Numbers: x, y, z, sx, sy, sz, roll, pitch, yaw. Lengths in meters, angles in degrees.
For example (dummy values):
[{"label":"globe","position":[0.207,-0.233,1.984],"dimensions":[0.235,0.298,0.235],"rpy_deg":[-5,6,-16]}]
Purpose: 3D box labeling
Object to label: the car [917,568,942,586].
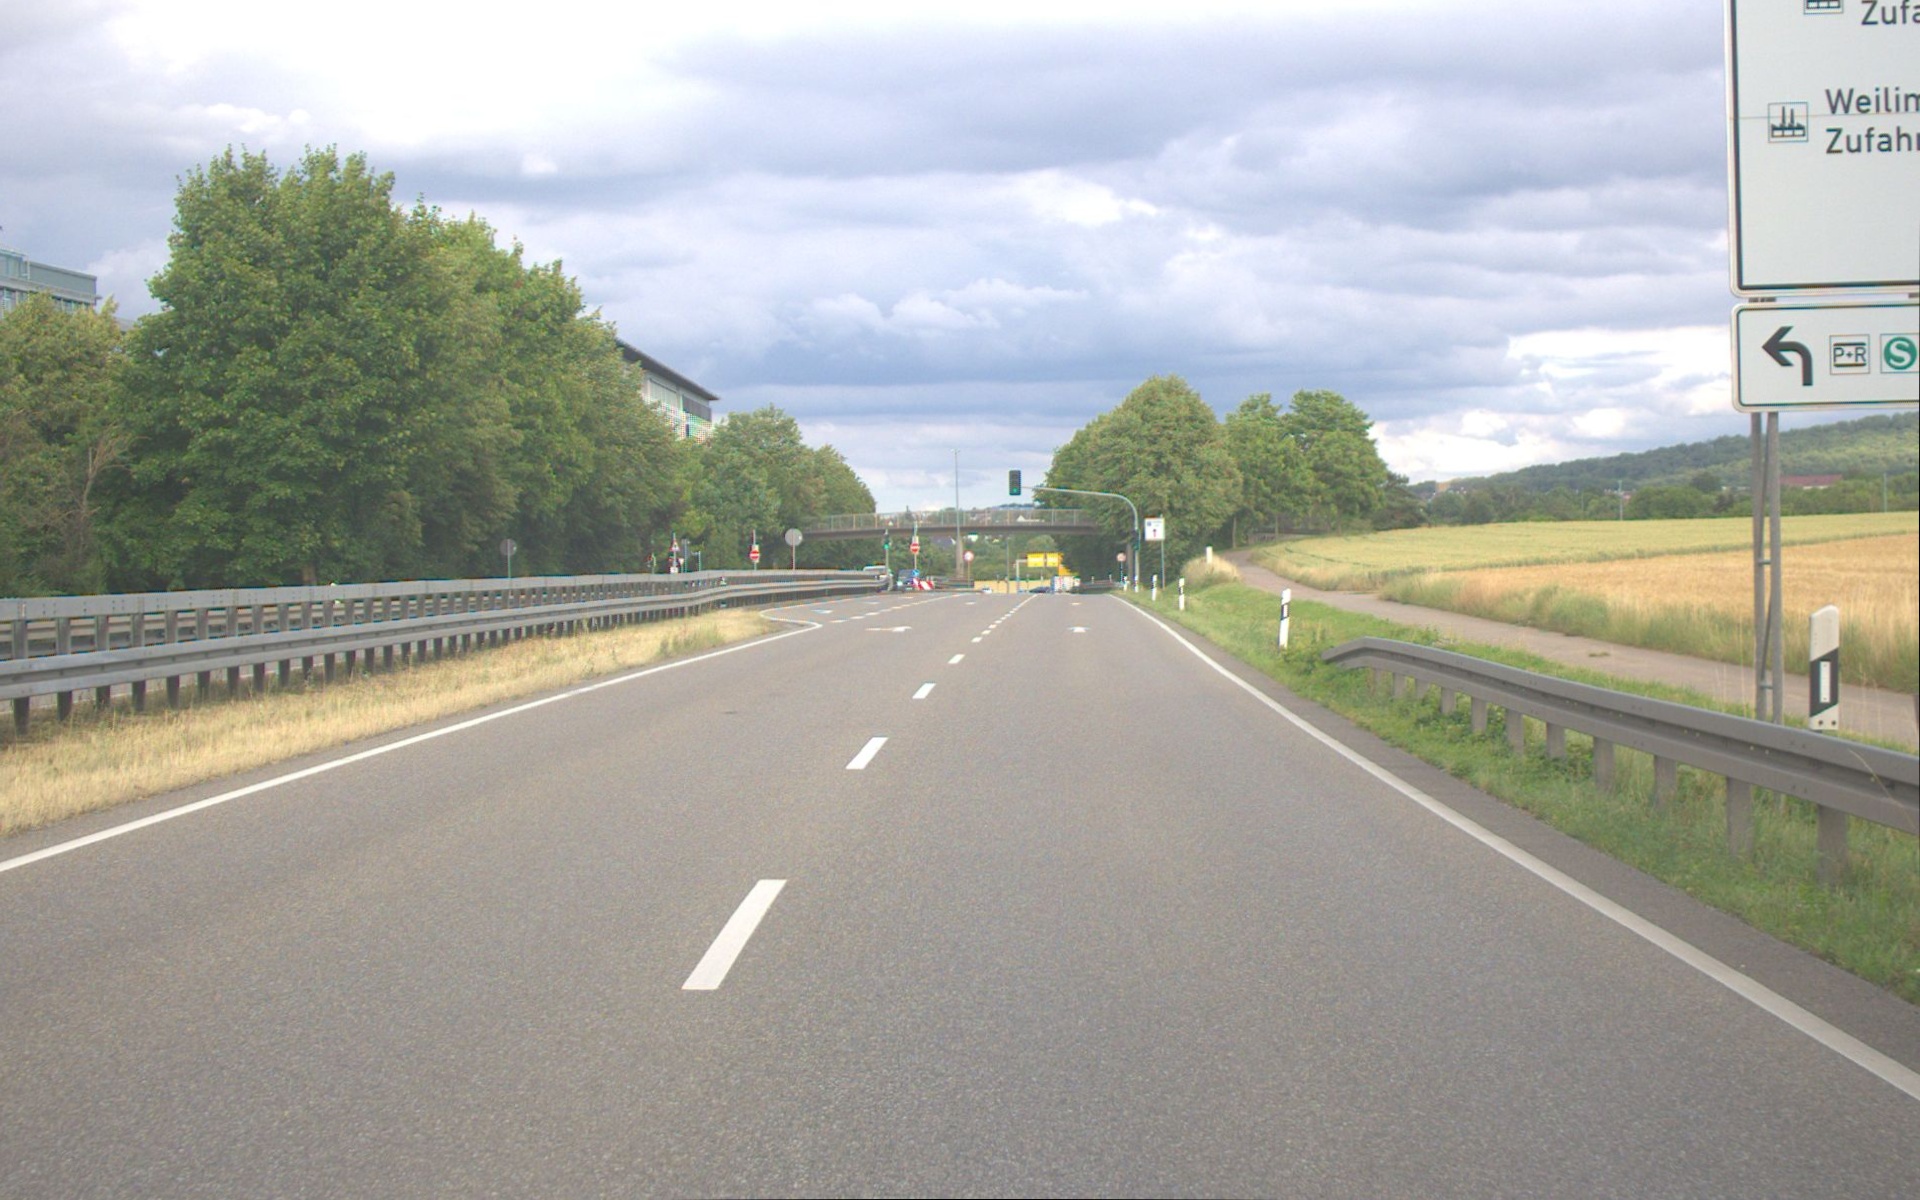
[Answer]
[{"label":"car","position":[-1.936,-1.489,218.813],"dimensions":[1.358,1.088,2.921],"rpy_deg":[-1,1,3]}]
